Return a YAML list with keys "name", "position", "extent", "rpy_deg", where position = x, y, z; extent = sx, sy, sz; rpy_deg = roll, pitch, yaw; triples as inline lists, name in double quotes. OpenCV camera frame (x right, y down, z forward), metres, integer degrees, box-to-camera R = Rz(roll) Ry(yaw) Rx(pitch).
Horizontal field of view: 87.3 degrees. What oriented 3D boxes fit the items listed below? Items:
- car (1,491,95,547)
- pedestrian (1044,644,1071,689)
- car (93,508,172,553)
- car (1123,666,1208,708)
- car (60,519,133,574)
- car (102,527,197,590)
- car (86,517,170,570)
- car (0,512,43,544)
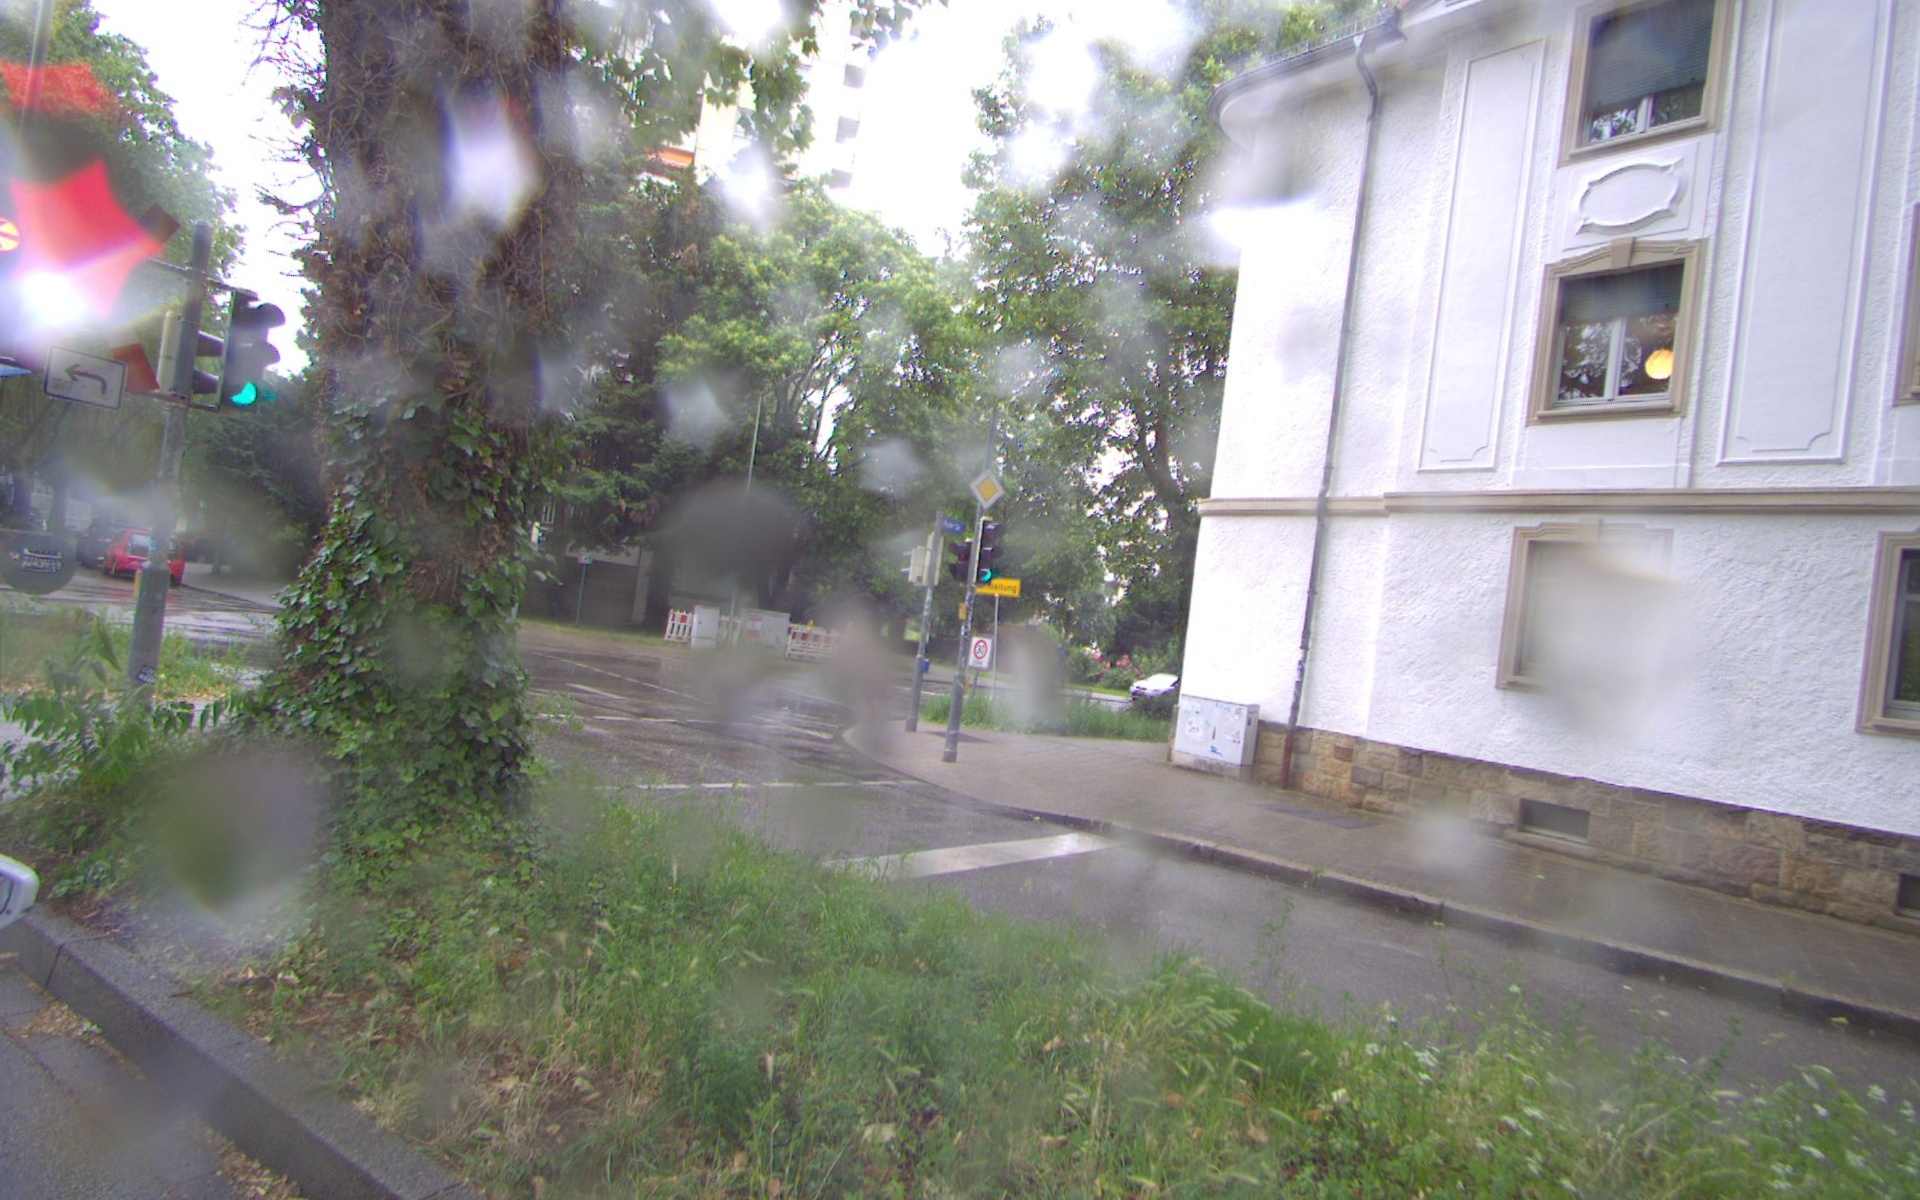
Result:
- name: "car"
  position: [-61.146, -5.399, 67.488]
  extent: [4.680, 2.982, 2.043]
  rpy_deg: [7, -1, 12]
- name: "pedestrian"
  position: [4.209, 2.872, 43.395]
  extent: [0.670, 1.863, 0.713]
  rpy_deg: [6, -1, 44]
- name: "car"
  position: [-69.689, -5.863, 84.766]
  extent: [4.683, 2.982, 2.001]
  rpy_deg: [7, -1, 1]
- name: "car"
  position: [9.387, 3.968, 45.789]
  extent: [1.829, 1.473, 3.979]
  rpy_deg: [6, -3, 45]
- name: "car"
  position: [-33.009, -2.072, 38.421]
  extent: [1.779, 1.747, 3.951]
  rpy_deg: [9, -2, -44]
- name: "car"
  position: [-24.855, -1.300, 30.813]
  extent: [1.788, 1.515, 3.950]
  rpy_deg: [9, -2, -44]
- name: "car"
  position: [-28.122, -1.930, 33.968]
  extent: [1.780, 1.363, 3.879]
  rpy_deg: [10, -2, -44]
- name: "car"
  position: [-56.237, -4.378, 58.587]
  extent: [1.974, 1.565, 3.980]
  rpy_deg: [6, -3, 44]
